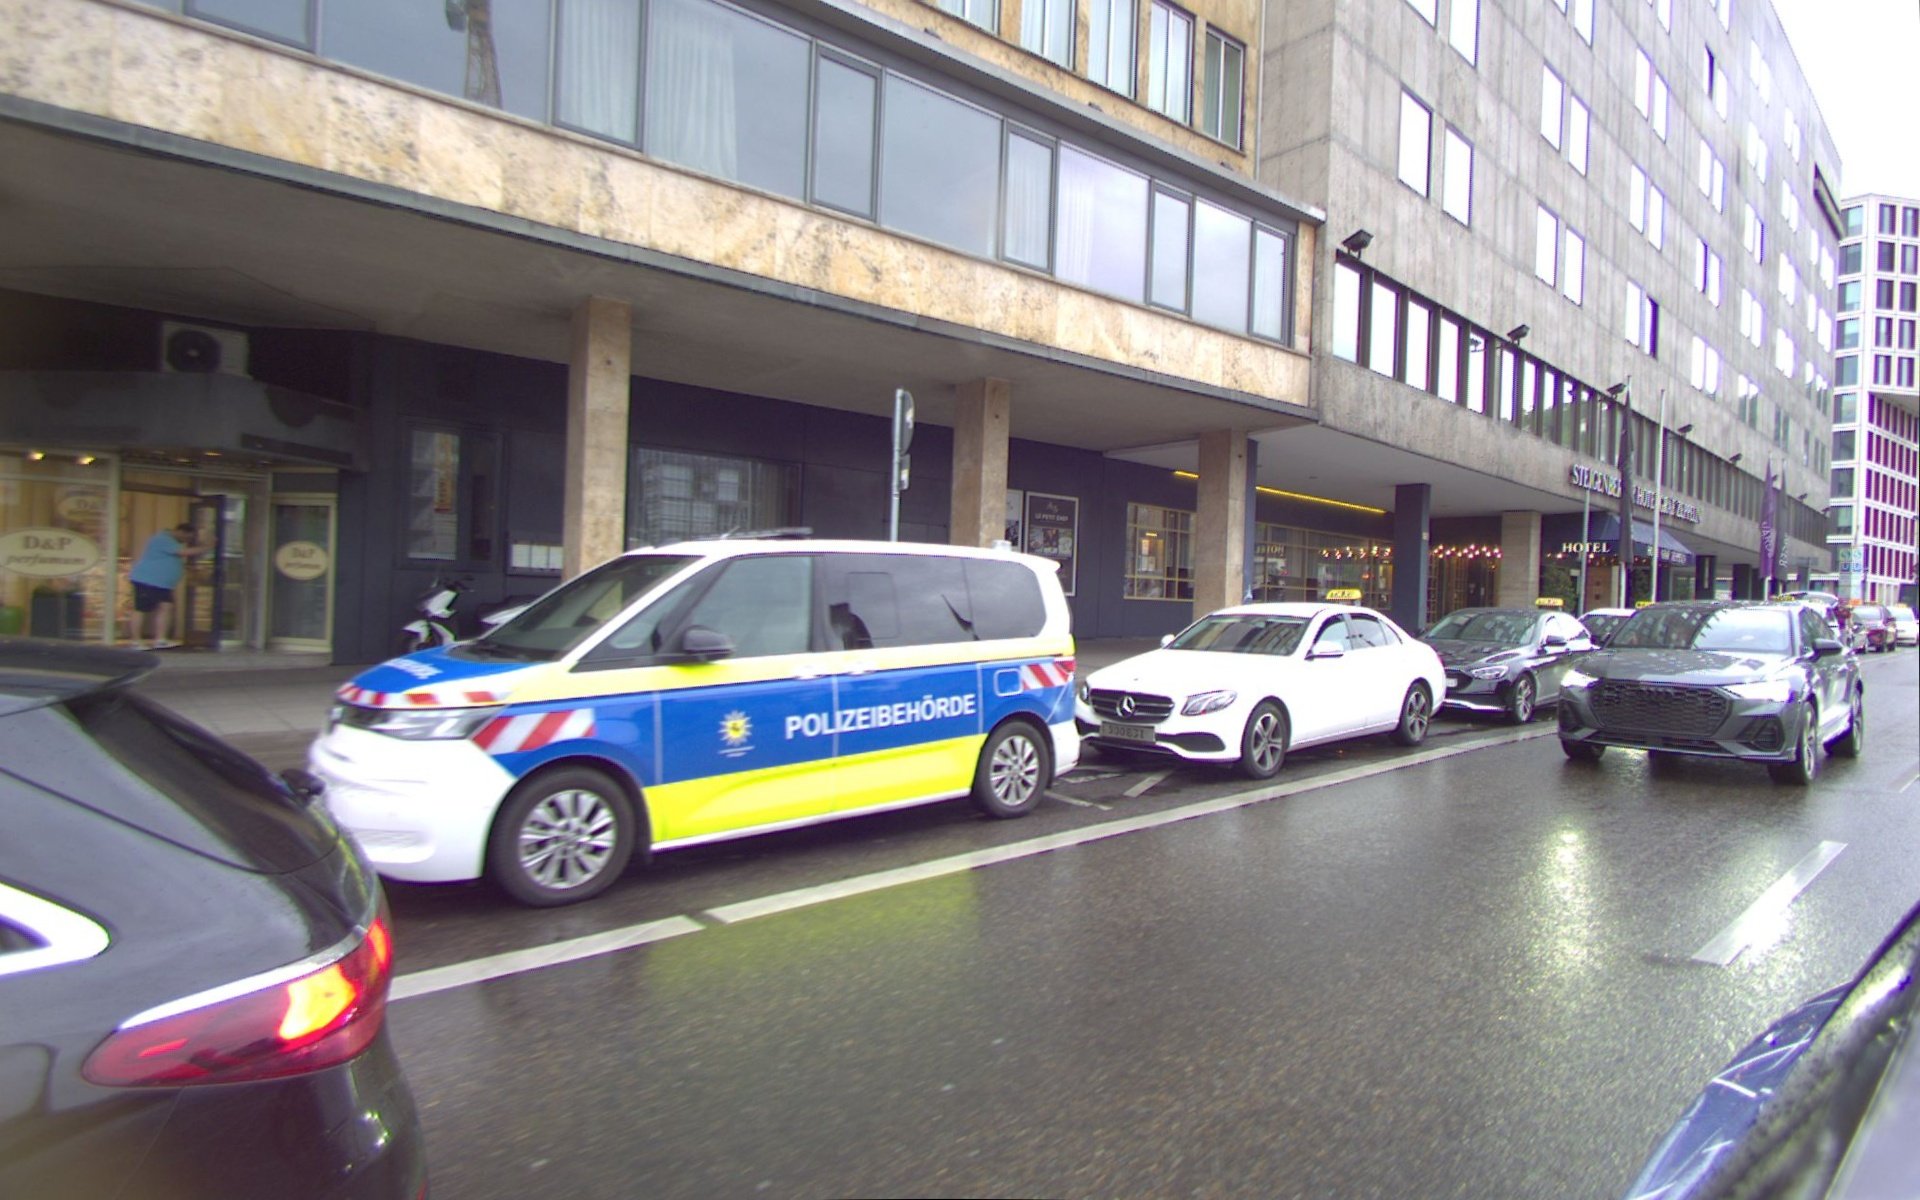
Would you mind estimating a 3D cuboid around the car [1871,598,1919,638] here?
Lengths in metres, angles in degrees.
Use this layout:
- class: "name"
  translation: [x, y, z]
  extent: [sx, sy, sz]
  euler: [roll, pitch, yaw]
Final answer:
- class: "car"
  translation: [40.054, 0.733, 42.879]
  extent: [3.932, 1.634, 1.729]
  euler: [0, 0, -41]

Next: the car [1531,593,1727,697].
- class: "car"
  translation: [11.973, 0.688, 17.983]
  extent: [4.730, 1.612, 1.729]
  euler: [0, 0, -41]

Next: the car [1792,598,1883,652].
- class: "car"
  translation: [28.548, 0.758, 32.901]
  extent: [3.932, 1.634, 1.729]
  euler: [0, 0, -41]

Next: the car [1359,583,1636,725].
- class: "car"
  translation: [7.628, 0.621, 14.145]
  extent: [4.730, 1.658, 1.877]
  euler: [0, 0, -41]

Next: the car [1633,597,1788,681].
- class: "car"
  translation: [16.231, 0.744, 21.792]
  extent: [4.730, 1.612, 1.729]
  euler: [0, 0, -41]

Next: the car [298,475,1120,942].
- class: "car"
  translation: [-1.259, 0.439, 6.532]
  extent: [4.850, 1.944, 1.877]
  euler: [0, 0, -41]

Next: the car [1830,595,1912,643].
- class: "car"
  translation: [32.513, 0.637, 36.098]
  extent: [3.932, 1.634, 1.729]
  euler: [0, 0, -41]

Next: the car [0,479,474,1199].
- class: "car"
  translation: [-2.967, 0.634, 0.595]
  extent: [4.547, 1.520, 1.796]
  euler: [0, 0, -41]

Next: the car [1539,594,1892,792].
- class: "car"
  translation: [7.513, 0.708, 9.907]
  extent: [4.266, 1.520, 1.882]
  euler: [0, 0, -40]

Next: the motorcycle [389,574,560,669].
- class: "motorcycle"
  translation: [-6.656, 0.278, 13.932]
  extent: [2.063, 1.233, 0.569]
  euler: [0, 0, -33]

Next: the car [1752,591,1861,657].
- class: "car"
  translation: [24.539, 0.625, 29.267]
  extent: [4.730, 1.765, 1.729]
  euler: [0, 0, -41]

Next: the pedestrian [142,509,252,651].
- class: "pedestrian"
  translation: [-10.154, -0.256, 13.515]
  extent: [1.114, 1.813, 0.801]
  euler: [0, 0, -33]

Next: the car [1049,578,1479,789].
- class: "car"
  translation: [3.283, 0.643, 10.288]
  extent: [4.924, 1.658, 1.877]
  euler: [0, 0, -41]

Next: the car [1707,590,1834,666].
- class: "car"
  translation: [20.754, 0.644, 25.837]
  extent: [4.730, 1.765, 1.729]
  euler: [0, 0, -41]
